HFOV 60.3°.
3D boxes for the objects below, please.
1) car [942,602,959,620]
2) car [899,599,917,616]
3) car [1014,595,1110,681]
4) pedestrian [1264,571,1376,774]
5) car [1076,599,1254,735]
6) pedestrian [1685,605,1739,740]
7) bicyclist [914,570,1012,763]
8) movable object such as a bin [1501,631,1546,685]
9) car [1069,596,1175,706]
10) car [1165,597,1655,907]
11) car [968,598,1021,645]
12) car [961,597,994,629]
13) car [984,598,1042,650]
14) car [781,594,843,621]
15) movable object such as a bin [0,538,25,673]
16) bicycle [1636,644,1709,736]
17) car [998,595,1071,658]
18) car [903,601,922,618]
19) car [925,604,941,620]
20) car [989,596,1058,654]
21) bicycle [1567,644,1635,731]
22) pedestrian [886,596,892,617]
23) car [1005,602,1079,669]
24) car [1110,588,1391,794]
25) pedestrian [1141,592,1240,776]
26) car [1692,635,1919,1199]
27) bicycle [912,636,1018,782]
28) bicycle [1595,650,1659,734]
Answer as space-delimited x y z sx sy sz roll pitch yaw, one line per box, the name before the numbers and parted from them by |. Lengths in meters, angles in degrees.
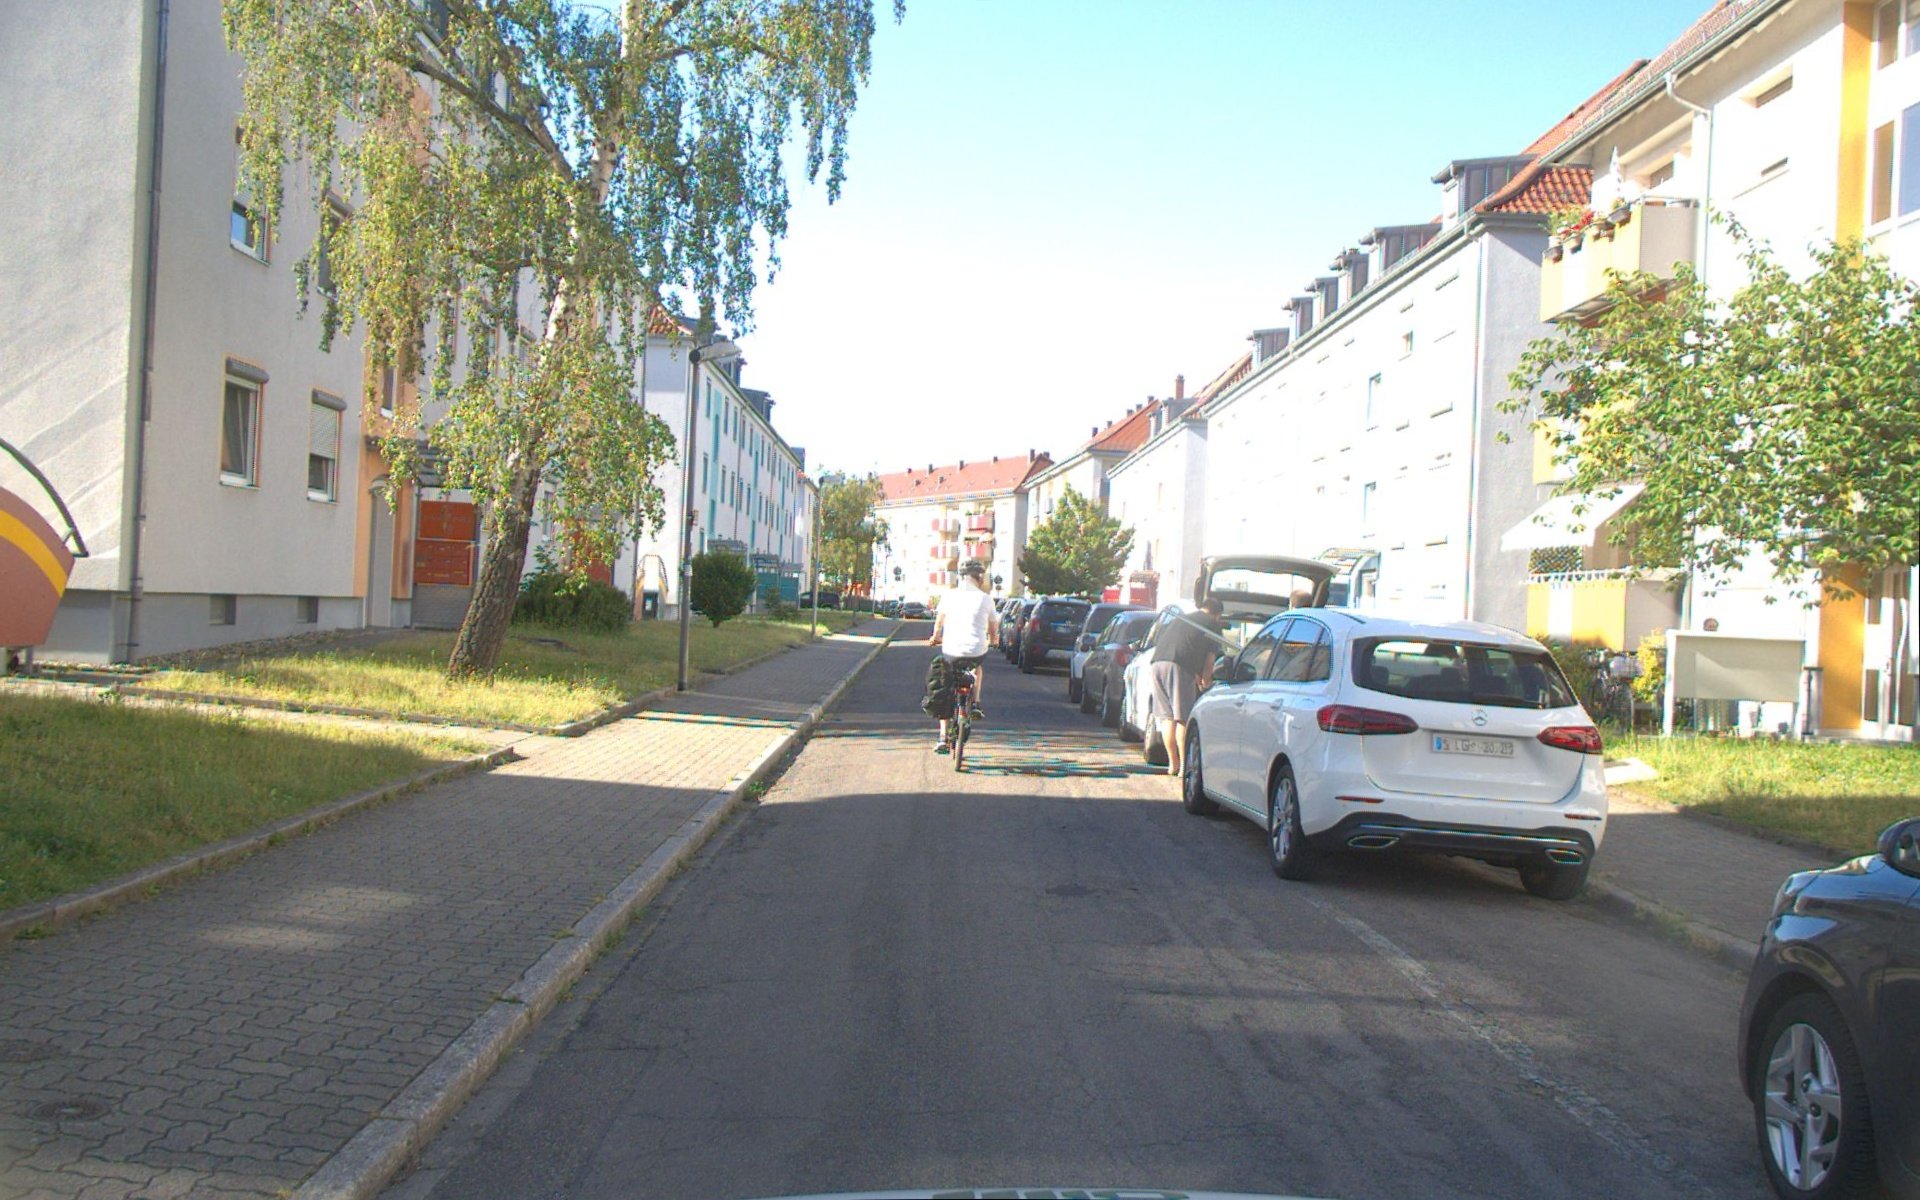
car | -0.838 1.004 149.893 1.354 1.523 3.075 2 0 -3
car | -4.336 0.626 137.776 1.440 1.358 3.139 2 0 -3
car | 2.211 0.791 36.785 1.747 1.676 4.468 4 0 0
pedestrian | 3.125 0.622 14.414 0.803 1.717 0.604 1 0 -2
car | 2.644 0.814 22.142 1.660 1.517 3.982 4 0 -2
pedestrian | 8.685 0.833 19.109 0.441 1.521 0.360 2 -2 -1
bicyclist | 0.013 0.586 14.935 0.792 1.672 0.898 2 0 -4
movable object such as a bin | 11.192 1.148 32.858 0.629 1.053 0.757 1 -2 -1
car | 2.562 0.785 26.616 1.449 1.555 2.942 5 0 3
car | 2.643 0.798 10.898 1.737 1.531 4.478 3 0 -3
car | 1.333 0.838 66.053 1.824 1.697 4.126 4 0 -1
car | 1.046 0.769 100.842 1.641 1.769 3.940 3 0 -3
car | 1.851 0.824 58.741 1.678 1.623 4.396 5 0 -1
car | -10.253 0.510 114.517 4.149 1.667 1.581 2 0 -5
movable object such as a bin | -10.304 0.011 16.334 1.360 1.359 1.228 4 0 -2
bicycle | 9.590 1.194 22.288 0.395 1.152 1.273 2 0 0
car | 2.099 0.726 47.487 1.656 1.602 4.433 4 0 -2
car | -3.872 0.745 133.470 1.440 1.358 3.139 2 0 -3
car | -2.683 1.156 162.579 1.440 1.542 3.075 2 0 -3
car | 2.011 0.778 53.537 1.716 1.645 4.449 5 0 -3
bicycle | 8.705 1.175 22.483 0.395 1.106 1.299 1 0 0
pedestrian | -5.528 0.482 129.441 0.425 1.602 0.543 1 0 -1
car | 2.039 0.851 41.878 1.608 1.524 4.156 2 0 0
car | 2.755 0.787 16.890 1.953 1.641 4.995 4 0 1
pedestrian | 2.064 0.733 14.927 0.724 1.602 0.879 1 0 -2
car | 3.020 0.897 2.962 1.613 1.474 4.061 4 0 1
bicycle | 0.010 0.933 14.815 0.792 1.148 2.100 2 0 -3
bicycle | 8.696 1.195 21.574 0.725 1.065 0.238 1 0 1
